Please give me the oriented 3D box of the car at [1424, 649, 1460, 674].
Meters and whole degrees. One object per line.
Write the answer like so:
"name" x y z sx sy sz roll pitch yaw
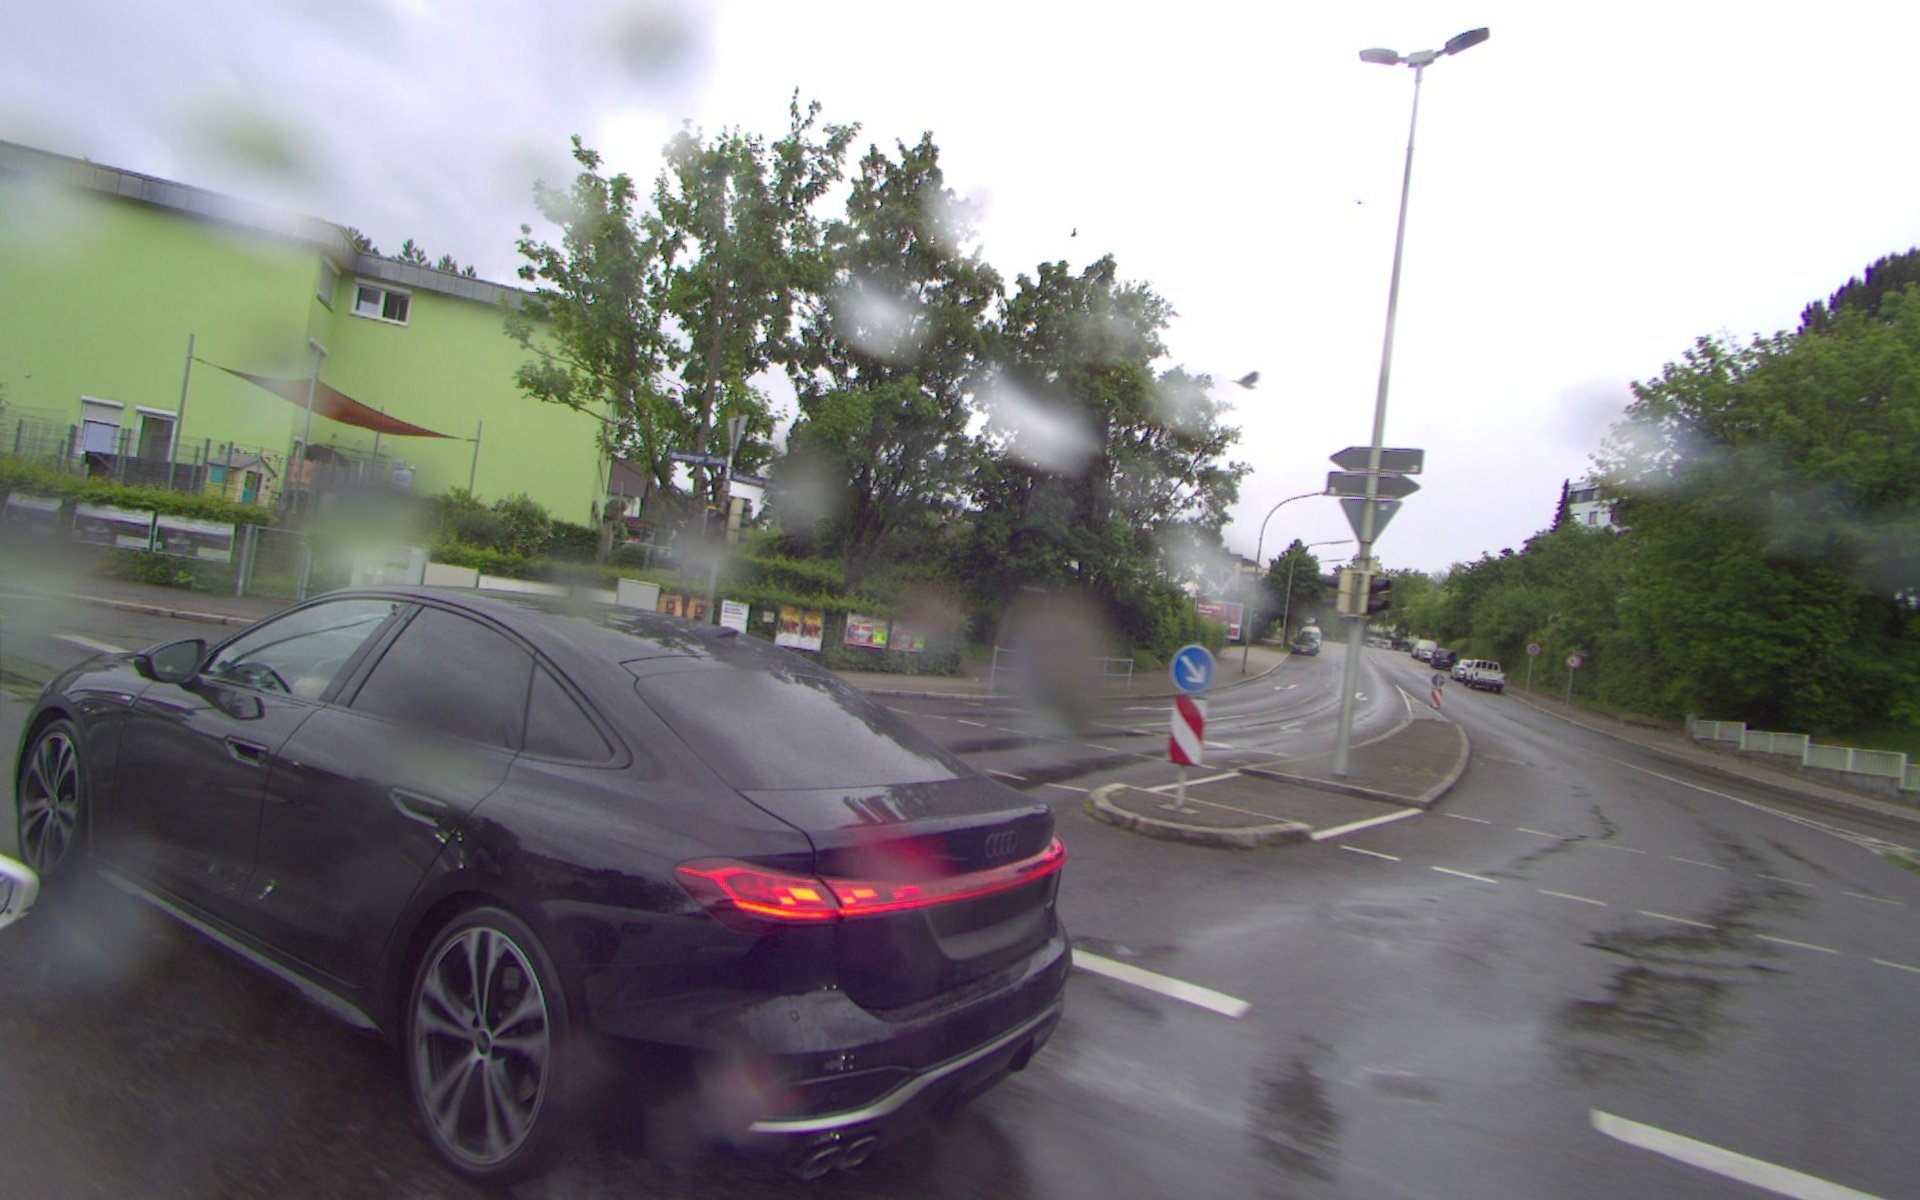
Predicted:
"car" 39.820 5.070 83.156 1.962 1.828 4.001 7 0 17

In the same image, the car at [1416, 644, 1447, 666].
"car" 43.919 5.131 93.758 1.962 1.828 4.001 7 0 17

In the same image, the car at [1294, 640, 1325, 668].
"car" 28.124 4.341 81.028 1.962 1.964 4.001 7 0 17

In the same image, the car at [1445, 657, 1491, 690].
"car" 34.007 4.886 67.455 1.962 1.828 4.001 7 0 17

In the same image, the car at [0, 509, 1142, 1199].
"car" -1.890 0.619 3.956 4.661 1.441 1.870 6 -2 32

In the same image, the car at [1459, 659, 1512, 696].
"car" 31.775 4.640 60.934 1.962 1.900 4.212 7 -1 17

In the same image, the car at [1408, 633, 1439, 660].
"car" 45.695 4.620 99.230 1.962 2.417 4.001 7 0 17
